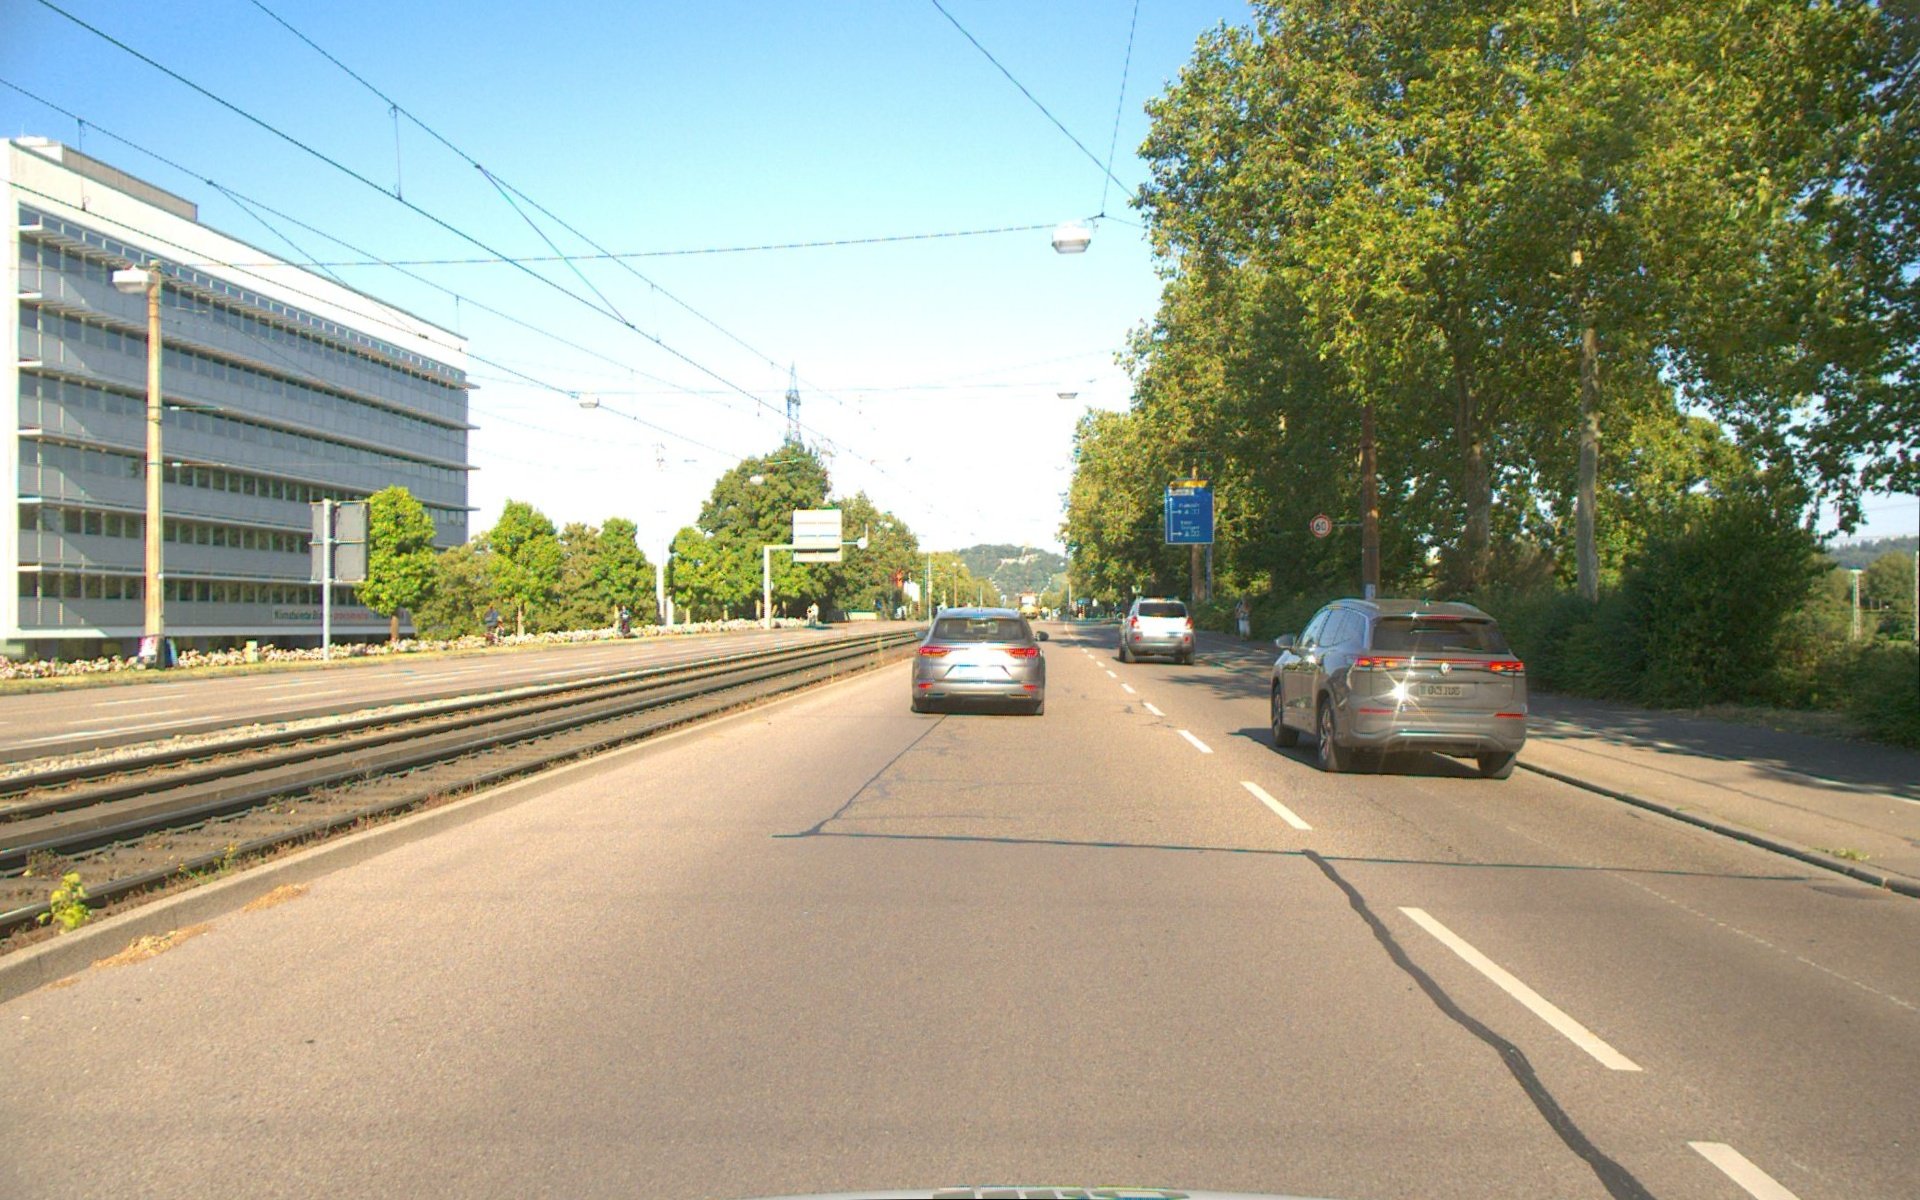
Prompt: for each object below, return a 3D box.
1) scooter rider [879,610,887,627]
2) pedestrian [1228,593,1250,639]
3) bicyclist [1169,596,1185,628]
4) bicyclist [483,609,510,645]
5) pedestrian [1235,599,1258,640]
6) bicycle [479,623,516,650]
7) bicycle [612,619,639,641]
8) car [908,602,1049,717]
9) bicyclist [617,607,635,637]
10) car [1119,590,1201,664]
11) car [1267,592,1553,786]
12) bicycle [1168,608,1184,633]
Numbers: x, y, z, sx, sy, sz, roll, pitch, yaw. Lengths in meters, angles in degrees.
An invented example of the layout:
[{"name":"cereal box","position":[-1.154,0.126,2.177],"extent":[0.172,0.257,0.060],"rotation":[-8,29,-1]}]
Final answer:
[{"name":"scooter rider","position":[-8.894,2.114,190.630],"extent":[0.667,1.881,1.001],"rotation":[-1,-1,11]},{"name":"pedestrian","position":[10.692,0.618,63.491],"extent":[0.707,1.737,0.813],"rotation":[-1,-1,3]},{"name":"bicyclist","position":[10.290,0.563,78.460],"extent":[0.671,1.535,0.891],"rotation":[0,0,3]},{"name":"bicyclist","position":[-19.963,1.148,71.238],"extent":[0.690,1.539,0.971],"rotation":[2,0,10]},{"name":"pedestrian","position":[10.760,0.718,62.122],"extent":[0.708,1.506,0.722],"rotation":[-1,-1,3]},{"name":"bicycle","position":[-19.957,1.563,71.338],"extent":[0.690,1.092,2.029],"rotation":[2,0,10]},{"name":"bicycle","position":[-18.252,1.636,90.236],"extent":[0.647,1.171,2.023],"rotation":[2,0,13]},{"name":"car","position":[0.355,0.781,23.990],"extent":[1.827,1.493,4.667],"rotation":[1,0,3]},{"name":"bicyclist","position":[-18.227,1.198,90.288],"extent":[0.647,1.652,0.802],"rotation":[2,0,13]},{"name":"car","position":[5.348,0.695,44.643],"extent":[1.844,1.827,4.001],"rotation":[2,0,3]},{"name":"car","position":[4.414,0.784,16.926],"extent":[1.806,1.690,4.440],"rotation":[1,0,2]},{"name":"bicycle","position":[10.244,0.977,78.569],"extent":[0.609,1.140,1.814],"rotation":[-1,0,3]}]
